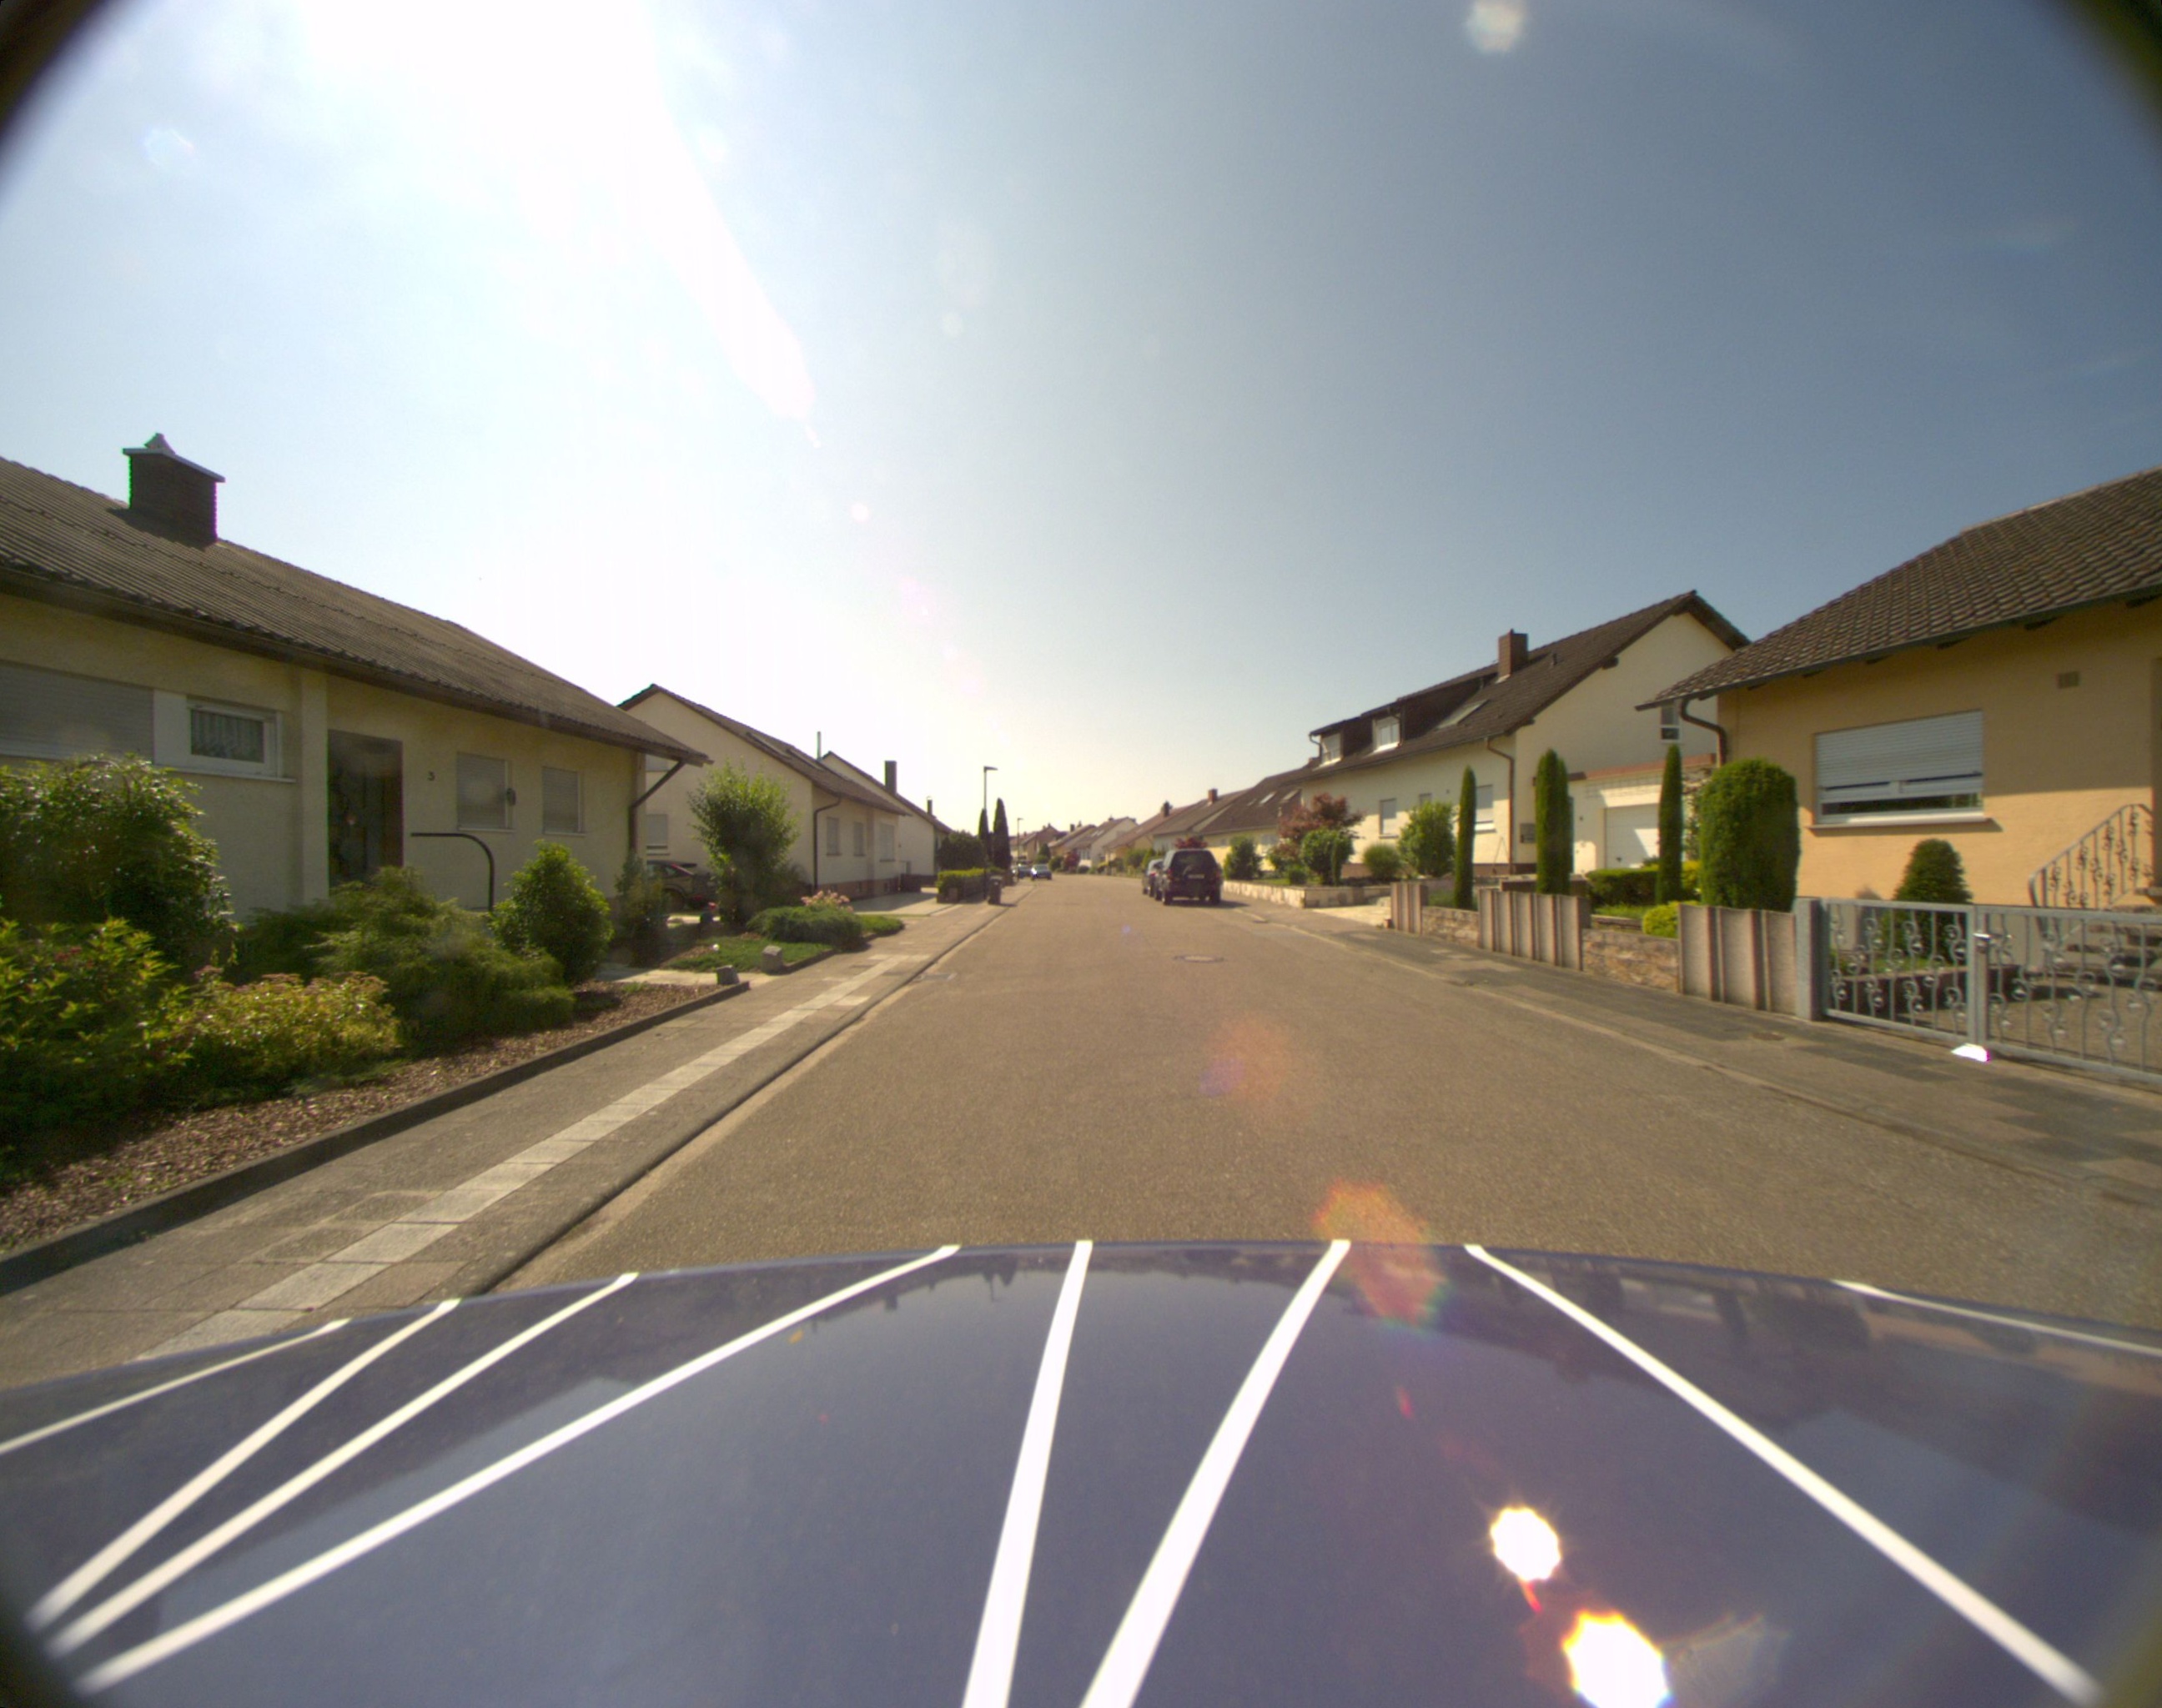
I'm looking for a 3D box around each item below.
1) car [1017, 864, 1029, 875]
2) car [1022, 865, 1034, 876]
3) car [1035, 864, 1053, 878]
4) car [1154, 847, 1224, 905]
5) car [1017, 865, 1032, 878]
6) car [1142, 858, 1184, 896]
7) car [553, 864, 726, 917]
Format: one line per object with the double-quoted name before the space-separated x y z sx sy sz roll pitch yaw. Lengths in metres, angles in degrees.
"car" -7.661 2.019 99.833 1.459 1.270 3.102 0 0 -5
"car" -6.475 2.025 92.506 1.459 1.270 3.102 0 0 -5
"car" -3.388 1.560 69.797 1.459 1.270 3.102 0 0 -6
"car" 3.512 0.688 25.312 1.769 1.767 3.652 -1 0 0
"car" -6.157 1.889 82.395 1.460 1.270 3.101 0 0 -7
"car" 3.271 0.878 30.678 1.305 1.415 3.103 -1 0 0
"car" -12.716 1.018 22.093 3.999 1.414 1.693 0 0 -6
